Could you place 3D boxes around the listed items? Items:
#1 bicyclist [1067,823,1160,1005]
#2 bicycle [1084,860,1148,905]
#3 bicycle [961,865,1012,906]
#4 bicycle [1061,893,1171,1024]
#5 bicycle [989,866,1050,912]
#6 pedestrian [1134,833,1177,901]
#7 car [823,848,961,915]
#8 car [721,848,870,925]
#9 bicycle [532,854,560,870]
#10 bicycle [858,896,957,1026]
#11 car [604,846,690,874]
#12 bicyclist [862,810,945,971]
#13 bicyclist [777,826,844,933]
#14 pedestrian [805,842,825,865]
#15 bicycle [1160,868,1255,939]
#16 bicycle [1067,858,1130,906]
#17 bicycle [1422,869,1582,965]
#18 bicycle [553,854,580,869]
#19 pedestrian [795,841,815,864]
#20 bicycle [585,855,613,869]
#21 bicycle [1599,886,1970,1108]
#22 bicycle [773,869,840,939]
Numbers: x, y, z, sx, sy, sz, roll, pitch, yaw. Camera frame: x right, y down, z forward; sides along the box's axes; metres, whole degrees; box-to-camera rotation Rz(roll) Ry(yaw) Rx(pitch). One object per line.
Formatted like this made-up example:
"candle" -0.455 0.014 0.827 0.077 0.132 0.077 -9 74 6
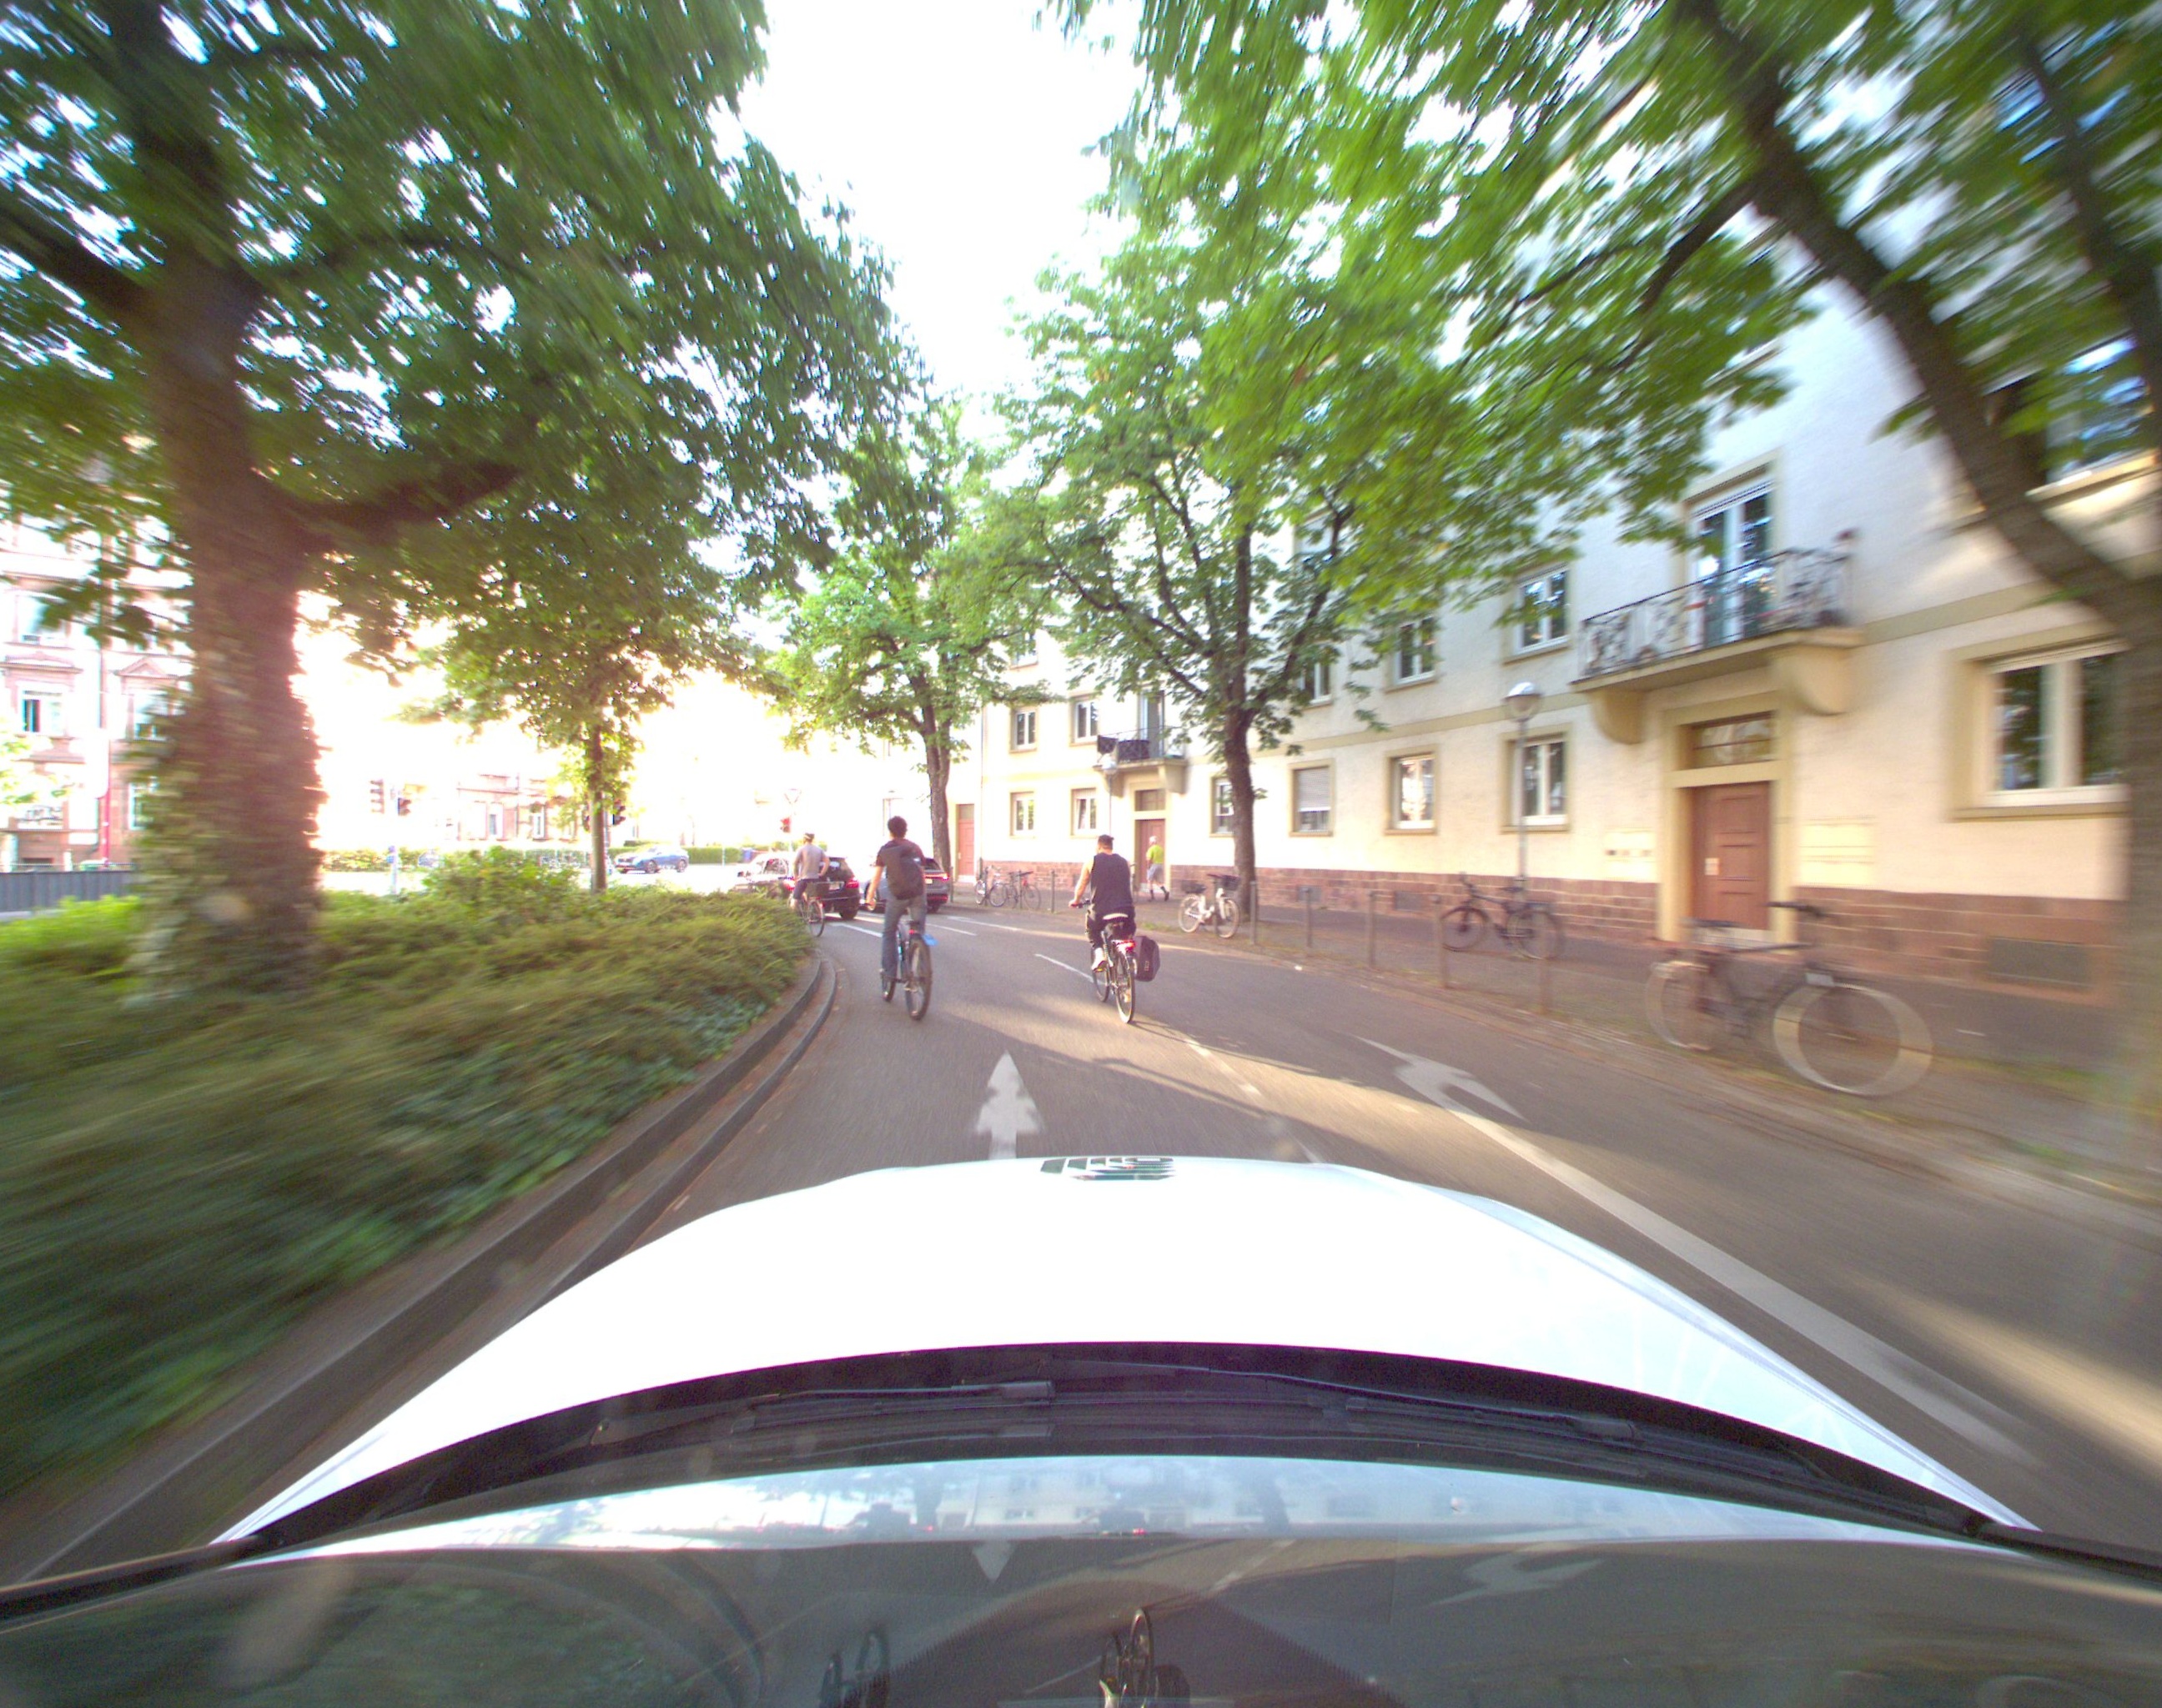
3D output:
"bicyclist" 0.299 0.553 8.025 0.752 1.682 0.910 0 0 -9
"bicycle" 0.921 0.740 22.030 0.586 1.114 2.095 -1 1 -34
"bicycle" -2.607 0.832 22.186 0.523 0.999 2.170 0 0 -31
"bicycle" 0.285 0.958 8.133 0.737 1.012 2.056 0 1 -8
"bicycle" -1.608 0.868 20.957 0.621 1.058 1.907 -2 2 -36
"pedestrian" 2.050 0.339 22.309 1.003 1.795 0.651 -2 1 -44
"car" -5.053 0.648 21.456 1.908 1.577 3.953 0 0 -41
"car" -6.675 0.680 18.841 1.829 1.543 3.911 -2 1 -43
"bicycle" -30.258 0.462 46.065 0.445 0.861 1.231 1 0 25
"bicycle" -1.811 0.997 8.245 0.676 1.054 2.047 0 -1 -21
"car" -24.550 0.321 46.286 1.981 1.496 4.388 1 0 11
"bicyclist" -1.824 0.340 8.283 0.674 1.514 1.061 0 0 -21
"bicyclist" -5.046 0.439 15.171 0.857 1.898 1.126 0 0 -39
"pedestrian" -23.182 -0.084 70.990 1.152 1.962 1.389 1 0 5
"bicycle" 2.250 0.854 14.785 0.619 1.112 1.974 -3 2 -27
"bicycle" 0.431 0.715 21.685 0.498 1.172 2.094 -4 2 -35
"bicycle" 5.704 0.815 11.138 0.676 1.182 1.801 -2 0 -37
"bicycle" -29.816 0.428 47.196 0.445 0.861 1.231 1 0 25
"pedestrian" -24.154 -0.118 71.328 1.152 1.962 1.389 1 0 5
"bicycle" -29.375 0.473 49.621 0.445 0.861 1.455 1 0 25
"bicycle" 4.643 0.846 5.626 0.679 1.158 1.996 -1 0 -7
"bicycle" -5.163 0.894 15.236 0.602 1.161 2.019 1 0 -37
